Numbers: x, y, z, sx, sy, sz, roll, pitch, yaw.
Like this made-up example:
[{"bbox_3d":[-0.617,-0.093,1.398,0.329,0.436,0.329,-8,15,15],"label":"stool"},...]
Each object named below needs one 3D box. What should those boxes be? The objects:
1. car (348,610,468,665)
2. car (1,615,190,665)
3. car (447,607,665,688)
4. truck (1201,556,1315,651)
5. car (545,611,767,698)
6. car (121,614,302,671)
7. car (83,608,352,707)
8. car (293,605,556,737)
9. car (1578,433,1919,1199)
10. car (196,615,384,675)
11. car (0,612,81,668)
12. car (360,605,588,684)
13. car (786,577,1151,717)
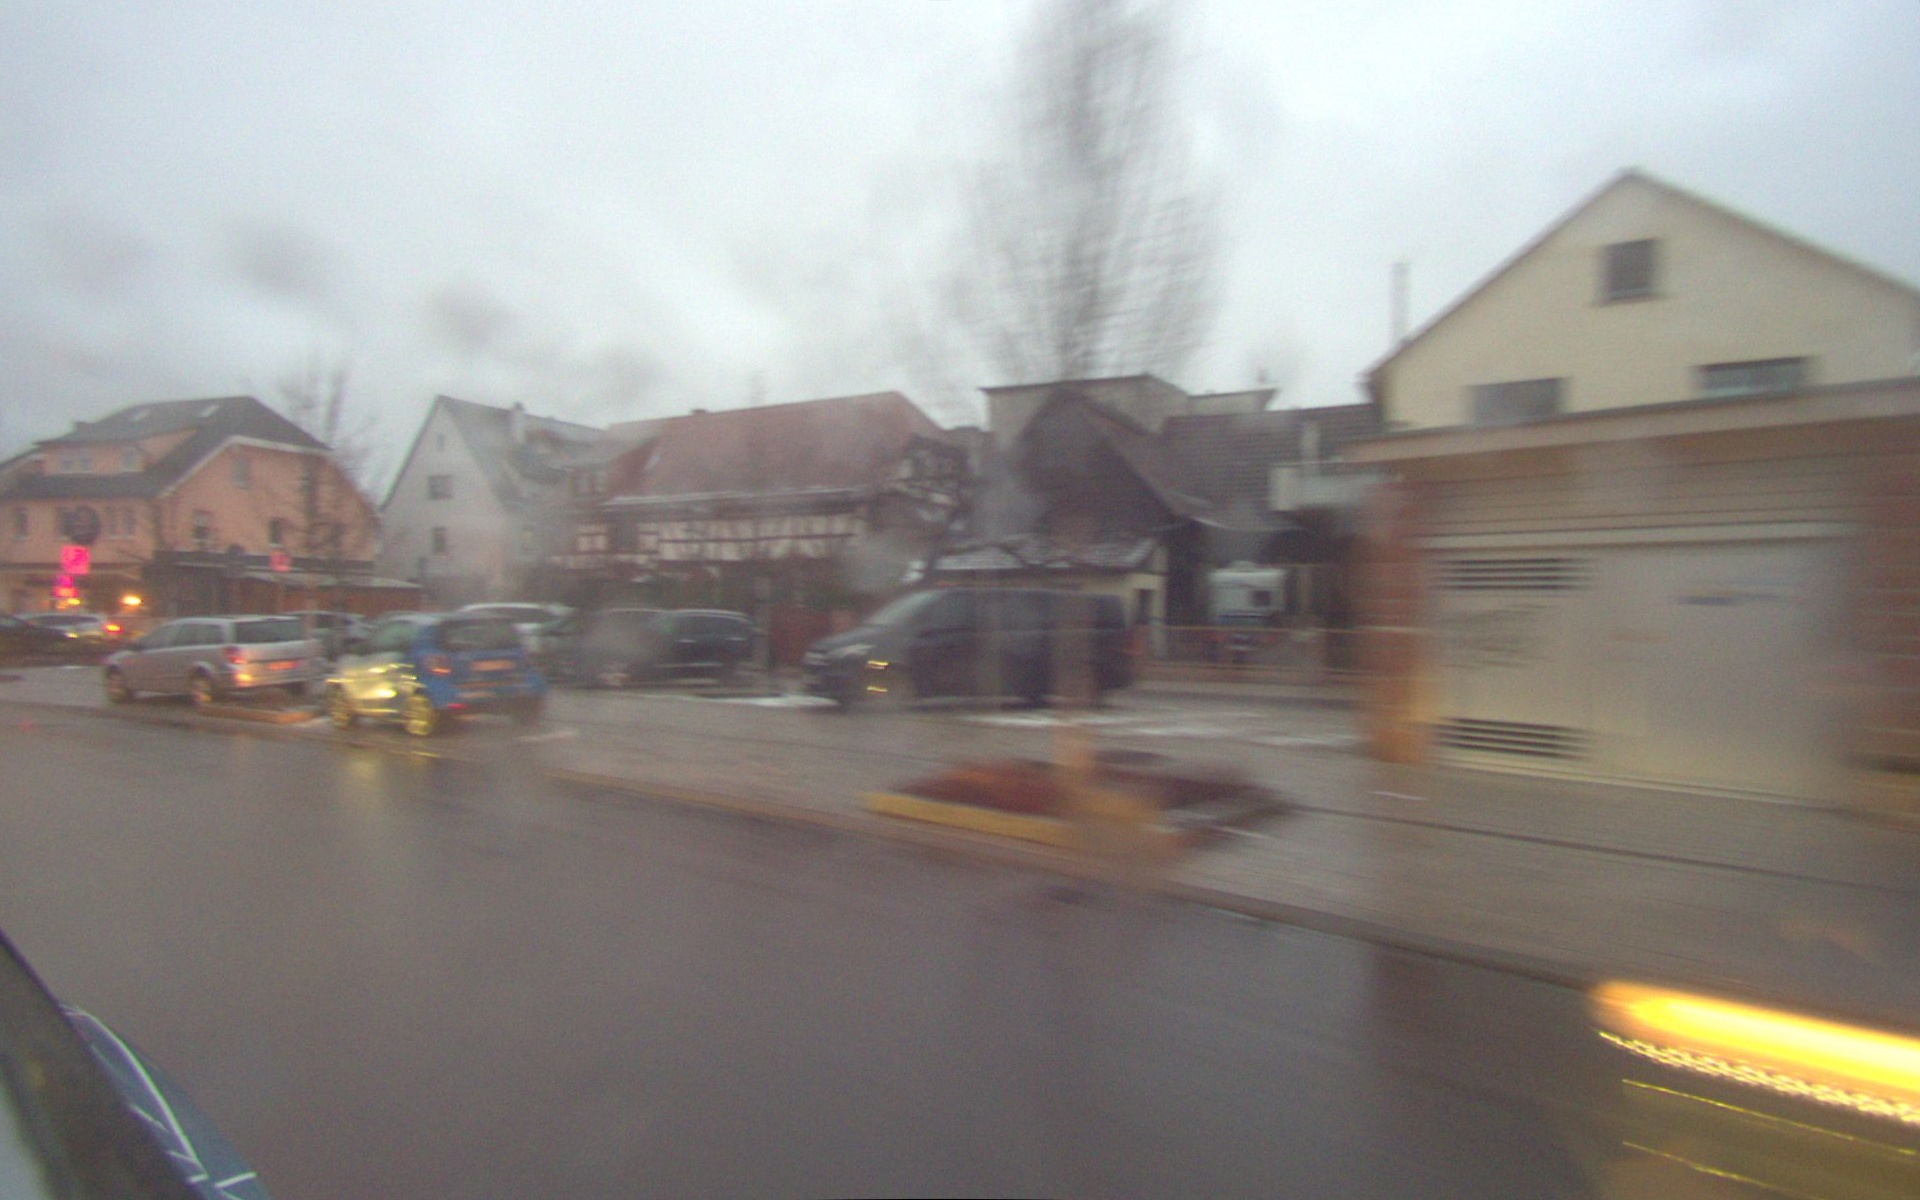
[{"bbox_3d":[-18.594,1.220,34.082,3.983,1.741,1.704,0,0,29],"label":"car"},{"bbox_3d":[-30.673,1.457,36.077,1.991,1.648,4.723,-2,-4,28],"label":"car"},{"bbox_3d":[-8.586,0.998,21.601,4.043,1.594,1.726,2,-2,-32],"label":"car"},{"bbox_3d":[10.397,0.084,34.955,2.771,2.974,5.806,-1,0,27],"label":"truck"},{"bbox_3d":[-6.060,1.022,20.197,3.931,1.541,2.006,0,-1,-27],"label":"car"},{"bbox_3d":[-20.504,1.150,27.893,3.868,1.470,1.767,1,-3,-36],"label":"car"},{"bbox_3d":[-12.824,0.944,17.495,4.228,1.545,1.896,-1,-1,23],"label":"car"},{"bbox_3d":[-7.359,0.863,13.814,3.670,1.547,1.816,-1,-1,37],"label":"car"},{"bbox_3d":[3.466,0.672,0.766,2.116,1.875,4.745,0,-1,-45],"label":"car"},{"bbox_3d":[-17.552,1.129,26.615,4.007,1.470,1.762,1,-1,-37],"label":"car"},{"bbox_3d":[-29.235,1.160,29.936,2.139,1.644,4.419,0,-1,20],"label":"car"},{"bbox_3d":[-11.246,0.984,23.504,4.577,1.666,1.993,1,-1,-32],"label":"car"},{"bbox_3d":[0.172,0.725,15.755,5.304,1.900,2.080,1,-2,-25],"label":"car"}]
